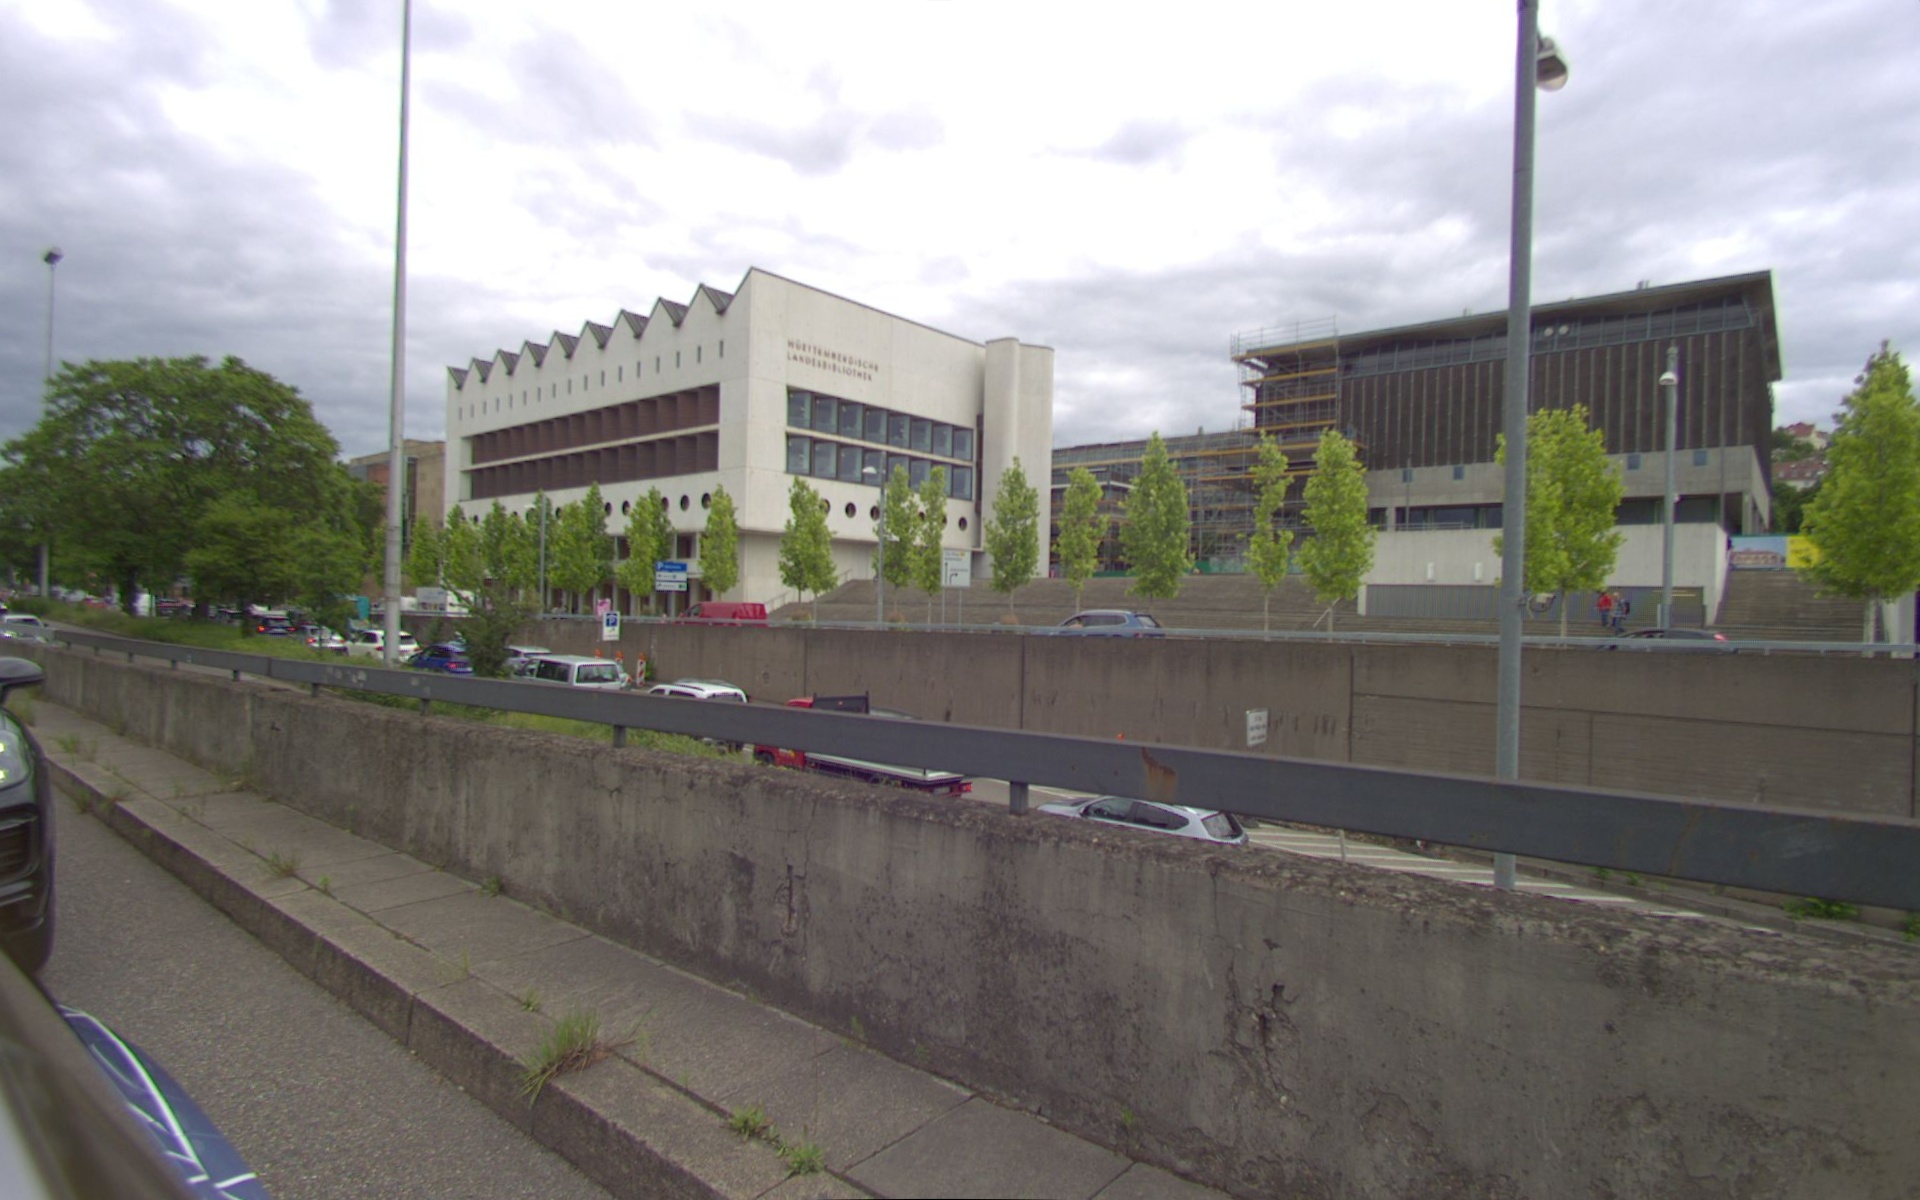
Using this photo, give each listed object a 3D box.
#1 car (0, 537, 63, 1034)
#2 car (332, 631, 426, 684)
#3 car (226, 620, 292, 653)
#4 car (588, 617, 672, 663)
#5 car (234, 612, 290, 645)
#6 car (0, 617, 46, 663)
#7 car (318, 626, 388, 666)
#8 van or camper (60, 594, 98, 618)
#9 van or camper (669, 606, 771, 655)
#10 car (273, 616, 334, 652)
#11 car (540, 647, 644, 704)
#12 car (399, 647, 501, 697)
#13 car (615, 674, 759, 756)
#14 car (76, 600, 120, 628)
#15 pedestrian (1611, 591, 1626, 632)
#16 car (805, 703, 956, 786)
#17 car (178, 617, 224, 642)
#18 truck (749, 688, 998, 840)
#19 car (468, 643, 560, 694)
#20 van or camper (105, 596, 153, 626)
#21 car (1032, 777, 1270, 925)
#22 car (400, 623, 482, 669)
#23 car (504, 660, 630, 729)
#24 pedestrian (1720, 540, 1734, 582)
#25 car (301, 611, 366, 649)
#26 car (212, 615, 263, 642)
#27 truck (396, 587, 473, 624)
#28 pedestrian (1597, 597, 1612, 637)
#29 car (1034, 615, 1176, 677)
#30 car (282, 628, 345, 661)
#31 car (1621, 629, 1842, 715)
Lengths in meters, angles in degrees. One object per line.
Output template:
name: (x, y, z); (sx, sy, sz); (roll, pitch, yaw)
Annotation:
car: (-5.540, 0.674, 4.389); (4.677, 1.690, 1.913); (-2, -1, 41)
car: (-25.097, 2.467, 43.650); (4.849, 2.148, 1.973); (-2, -5, 41)
car: (-37.119, 1.923, 53.576); (3.998, 1.672, 1.973); (-2, -1, 41)
car: (-15.655, 1.838, 47.923); (3.996, 2.029, 1.974); (-1, 0, 40)
car: (-45.779, 1.862, 66.353); (3.998, 2.029, 1.973); (-2, -5, 41)
car: (-44.232, 1.807, 47.178); (3.998, 2.029, 1.973); (-1, 0, 41)
car: (-32.928, 2.450, 54.859); (4.653, 2.029, 1.973); (-2, -1, 41)
van or camper: (-77.077, 0.500, 88.489); (3.998, 2.029, 2.010); (-2, -1, 41)
van or camper: (-10.530, 1.348, 44.293); (4.552, 2.029, 1.974); (-2, -2, 39)
car: (-39.513, 2.072, 60.889); (3.998, 2.029, 1.973); (-2, -5, 41)
car: (-14.154, 2.881, 38.852); (3.998, 2.029, 1.973); (-2, -5, 41)
car: (-19.628, 2.745, 38.890); (4.279, 1.757, 1.973); (-2, -5, 41)
car: (-7.738, 3.172, 28.561); (3.998, 2.029, 1.973); (-2, -5, 41)
car: (-67.409, 1.109, 79.127); (3.998, 2.028, 1.973); (-2, 2, 41)
pedestrian: (25.029, 0.436, 38.470); (0.461, 1.533, 0.377); (-1, 0, 35)
car: (-2.221, 3.878, 27.780); (3.863, 1.830, 1.973); (-1, -3, 41)
car: (-47.391, 1.858, 63.198); (3.360, 1.497, 1.653); (-2, -1, 41)
truck: (-2.147, 3.590, 23.495); (5.976, 2.711, 2.294); (-2, -1, 42)
car: (-18.841, 2.875, 42.730); (3.998, 2.029, 1.973); (-2, -5, 41)
van or camper: (-58.695, 0.798, 71.462); (3.998, 2.029, 2.010); (-2, -1, 41)
car: (3.437, 4.471, 18.600); (3.925, 1.829, 1.771); (-2, -1, 40)
car: (-24.320, 2.148, 47.396); (3.998, 2.029, 1.973); (-2, -5, 41)
car: (-12.922, 3.042, 33.178); (4.330, 2.029, 1.973); (-2, -5, 41)
pedestrian: (34.229, -1.740, 45.146); (0.461, 1.881, 0.377); (-1, 0, 35)
car: (-35.722, 1.746, 57.690); (3.998, 2.029, 1.973); (-2, -5, 41)
car: (-41.442, 1.633, 58.044); (3.360, 1.497, 1.653); (-2, -1, 41)
truck: (-33.061, 0.376, 63.576); (5.606, 2.174, 1.979); (-1, -1, 35)
pedestrian: (25.077, 0.667, 39.396); (0.461, 1.533, 0.377); (-1, 0, 35)
car: (4.518, 1.421, 31.852); (3.998, 1.829, 1.973); (-2, -2, 41)
car: (-31.131, 2.130, 48.681); (3.360, 1.497, 1.653); (-1, -2, 41)
car: (18.233, 1.627, 24.010); (3.998, 1.829, 1.973); (-2, -2, 41)
